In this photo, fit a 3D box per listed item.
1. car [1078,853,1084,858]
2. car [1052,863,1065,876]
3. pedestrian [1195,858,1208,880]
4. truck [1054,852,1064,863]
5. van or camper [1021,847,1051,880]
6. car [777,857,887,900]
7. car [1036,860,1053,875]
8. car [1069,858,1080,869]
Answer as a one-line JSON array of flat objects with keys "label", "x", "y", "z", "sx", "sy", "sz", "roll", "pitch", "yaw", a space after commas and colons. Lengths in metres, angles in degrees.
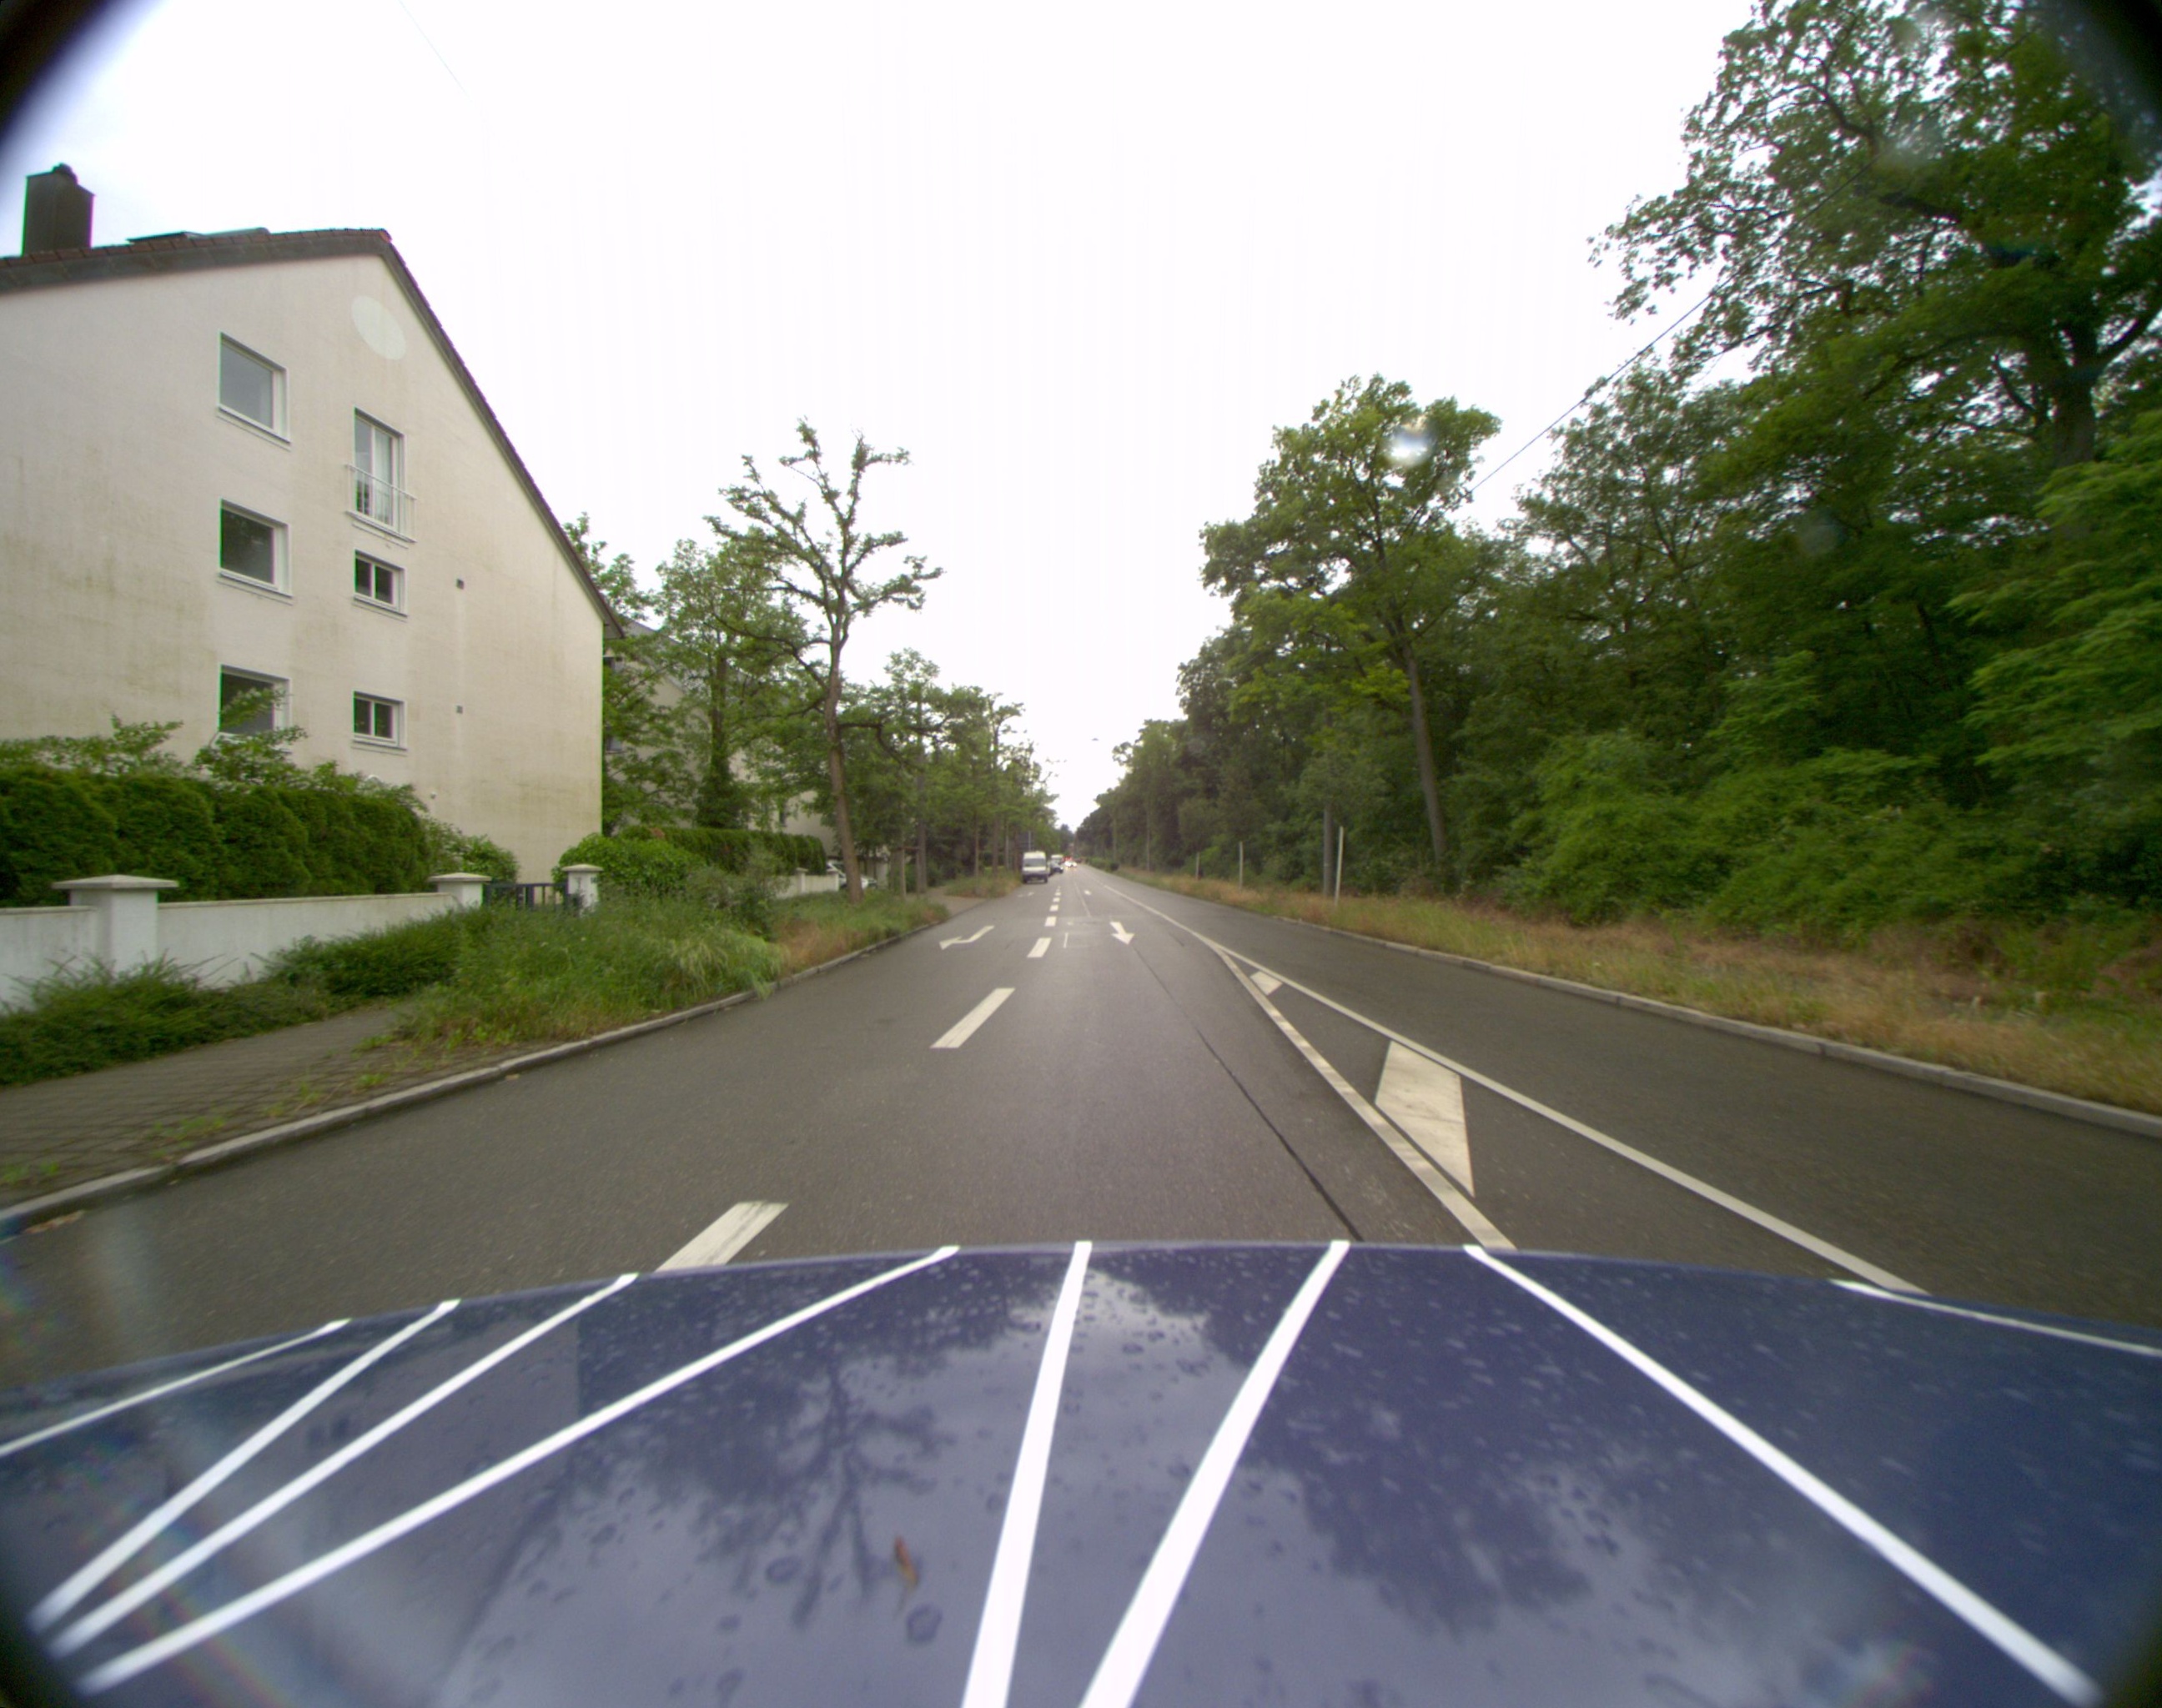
[{"label": "car", "x": -0.050, "y": 0.515, "z": 244.920, "sx": 1.681, "sy": 1.608, "sz": 4.061, "roll": 1, "pitch": 0, "yaw": -2}, {"label": "car", "x": -2.905, "y": 1.992, "z": 98.227, "sx": 1.622, "sy": 1.459, "sz": 4.409, "roll": -2, "pitch": 0, "yaw": -2}, {"label": "pedestrian", "x": 8.688, "y": 1.064, "z": 54.774, "sx": 0.783, "sy": 1.598, "sz": 0.732, "roll": 0, "pitch": 0, "yaw": -2}, {"label": "truck", "x": -5.124, "y": 0.809, "z": 173.153, "sx": 2.230, "sy": 2.321, "sz": 5.112, "roll": 1, "pitch": 0, "yaw": -2}, {"label": "van or camper", "x": -3.637, "y": 0.774, "z": 62.329, "sx": 2.042, "sy": 2.465, "sz": 5.637, "roll": -3, "pitch": 0, "yaw": -1}, {"label": "car", "x": -11.350, "y": 1.088, "z": 34.749, "sx": 4.312, "sy": 1.807, "sz": 1.876, "roll": -2, "pitch": 0, "yaw": 10}, {"label": "car", "x": -3.908, "y": 1.396, "z": 81.274, "sx": 1.576, "sy": 1.463, "sz": 3.764, "roll": -2, "pitch": 0, "yaw": -1}, {"label": "car", "x": -1.170, "y": 1.832, "z": 146.107, "sx": 1.998, "sy": 2.002, "sz": 3.999, "roll": -1, "pitch": 1, "yaw": 1}]
